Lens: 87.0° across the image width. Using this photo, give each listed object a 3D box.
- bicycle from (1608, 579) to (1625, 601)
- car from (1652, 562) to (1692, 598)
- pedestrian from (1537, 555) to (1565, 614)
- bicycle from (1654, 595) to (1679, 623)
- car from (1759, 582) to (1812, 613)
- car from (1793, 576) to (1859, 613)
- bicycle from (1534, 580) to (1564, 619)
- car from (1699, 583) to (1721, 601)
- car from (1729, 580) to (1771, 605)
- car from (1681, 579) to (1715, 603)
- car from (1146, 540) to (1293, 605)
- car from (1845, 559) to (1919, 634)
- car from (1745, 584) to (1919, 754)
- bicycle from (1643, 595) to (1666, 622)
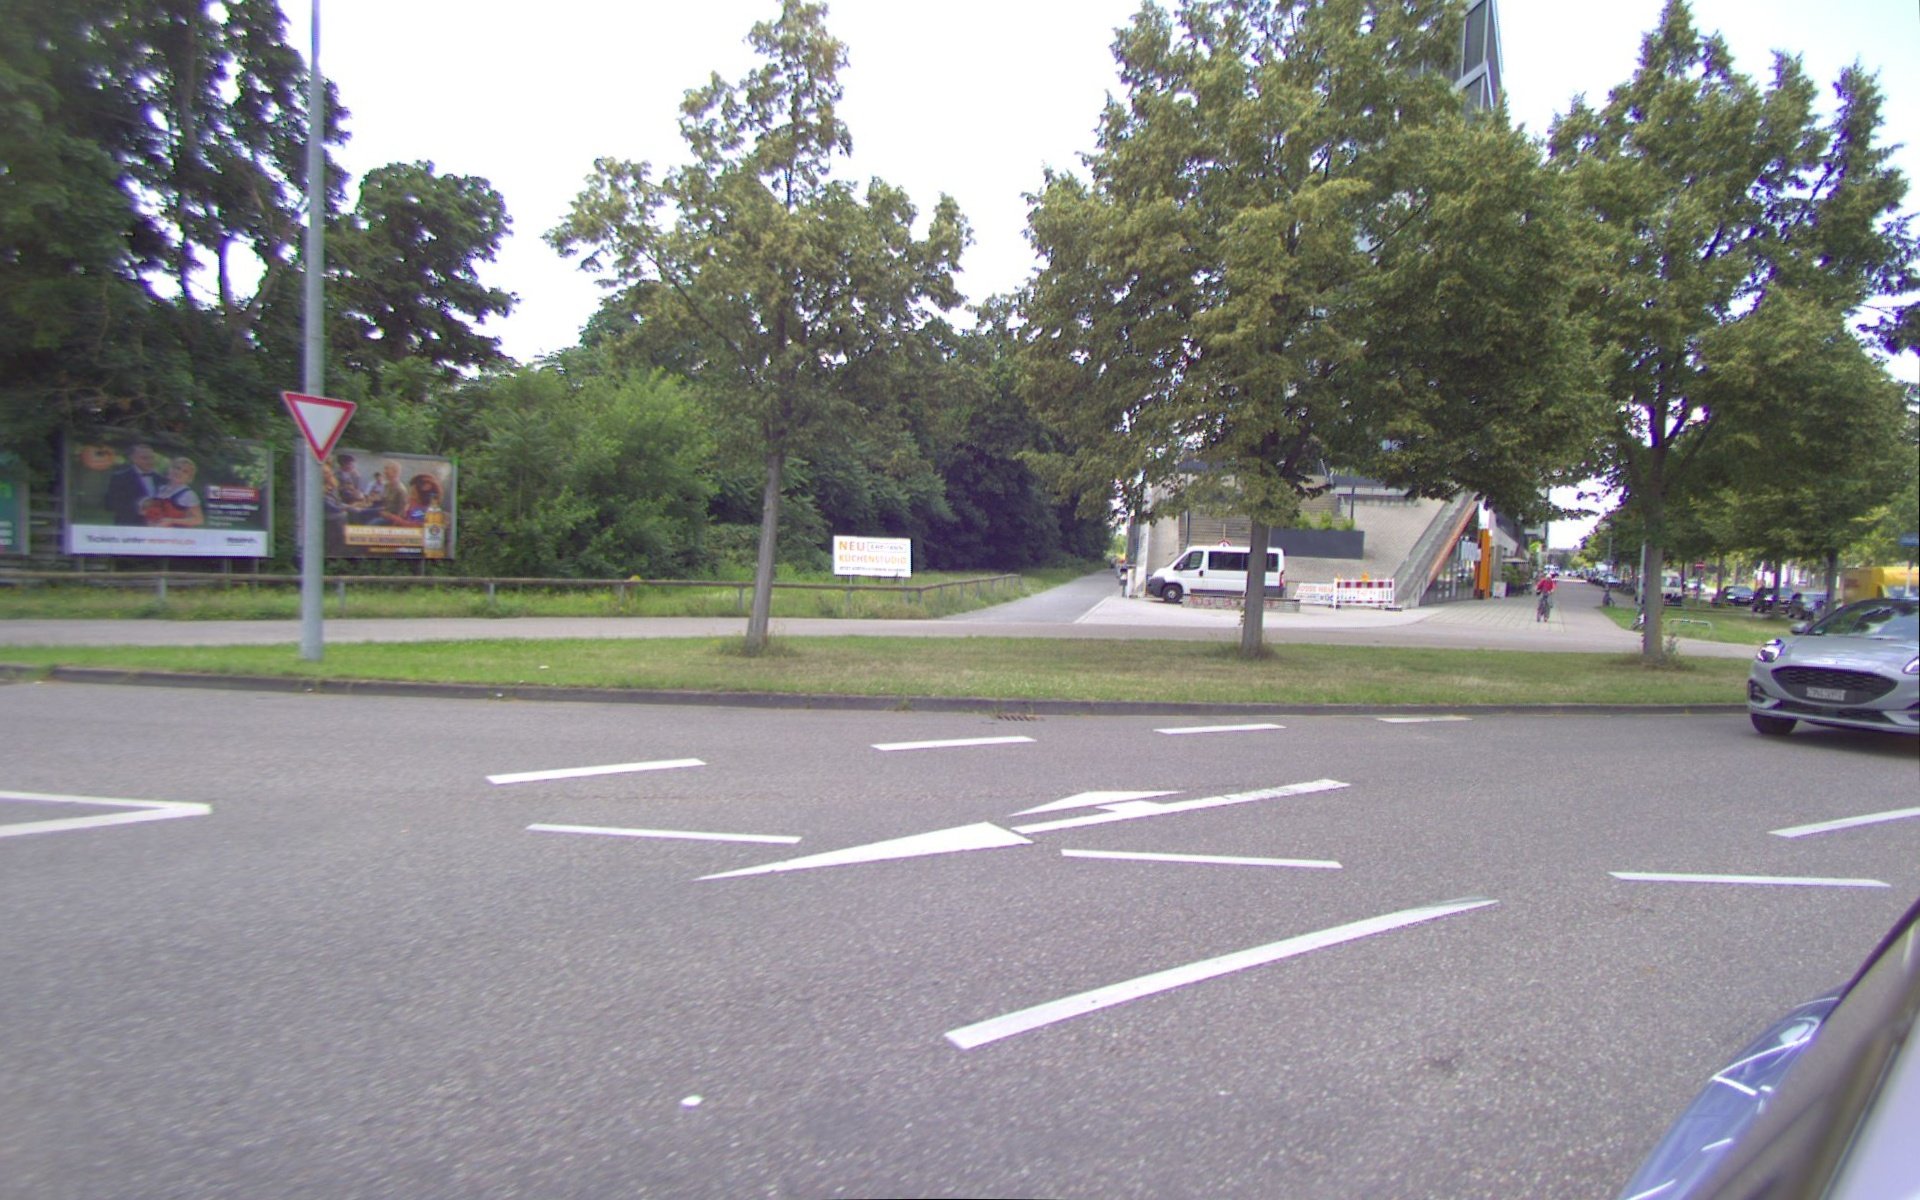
[{"bbox_3d":[35.146,-0.537,54.170,0.511,1.101,1.732,4,3,27],"label":"bicycle"},{"bbox_3d":[49.305,-1.431,70.133,2.149,2.423,6.200,1,2,35],"label":"car"},{"bbox_3d":[20.826,-0.574,35.702,0.748,2.038,1.219,2,3,29],"label":"pedestrian"},{"bbox_3d":[22.711,0.284,32.550,0.355,0.836,1.461,3,2,25],"label":"bicycle"},{"bbox_3d":[50.658,-0.190,62.201,1.985,1.783,4.247,1,2,32],"label":"car"},{"bbox_3d":[45.210,-0.348,52.928,1.985,1.783,4.247,1,2,32],"label":"car"},{"bbox_3d":[20.766,-0.054,35.711,0.806,1.259,2.387,3,3,29],"label":"bicycle"},{"bbox_3d":[87.751,-0.929,118.477,1.988,2.038,3.950,1,2,35],"label":"car"},{"bbox_3d":[58.007,-0.551,74.364,1.985,1.712,4.247,1,2,32],"label":"car"},{"bbox_3d":[53.936,-0.705,73.993,1.812,1.671,3.953,1,2,34],"label":"car"},{"bbox_3d":[9.525,-1.040,37.509,5.072,2.174,2.142,2,2,12],"label":"car"},{"bbox_3d":[39.338,-0.215,42.142,2.267,2.888,7.178,3,3,30],"label":"car"},{"bbox_3d":[10.237,0.638,10.572,4.009,1.489,1.678,0,2,-28],"label":"car"},{"bbox_3d":[22.641,0.269,33.005,0.355,0.836,1.461,3,2,25],"label":"bicycle"}]
